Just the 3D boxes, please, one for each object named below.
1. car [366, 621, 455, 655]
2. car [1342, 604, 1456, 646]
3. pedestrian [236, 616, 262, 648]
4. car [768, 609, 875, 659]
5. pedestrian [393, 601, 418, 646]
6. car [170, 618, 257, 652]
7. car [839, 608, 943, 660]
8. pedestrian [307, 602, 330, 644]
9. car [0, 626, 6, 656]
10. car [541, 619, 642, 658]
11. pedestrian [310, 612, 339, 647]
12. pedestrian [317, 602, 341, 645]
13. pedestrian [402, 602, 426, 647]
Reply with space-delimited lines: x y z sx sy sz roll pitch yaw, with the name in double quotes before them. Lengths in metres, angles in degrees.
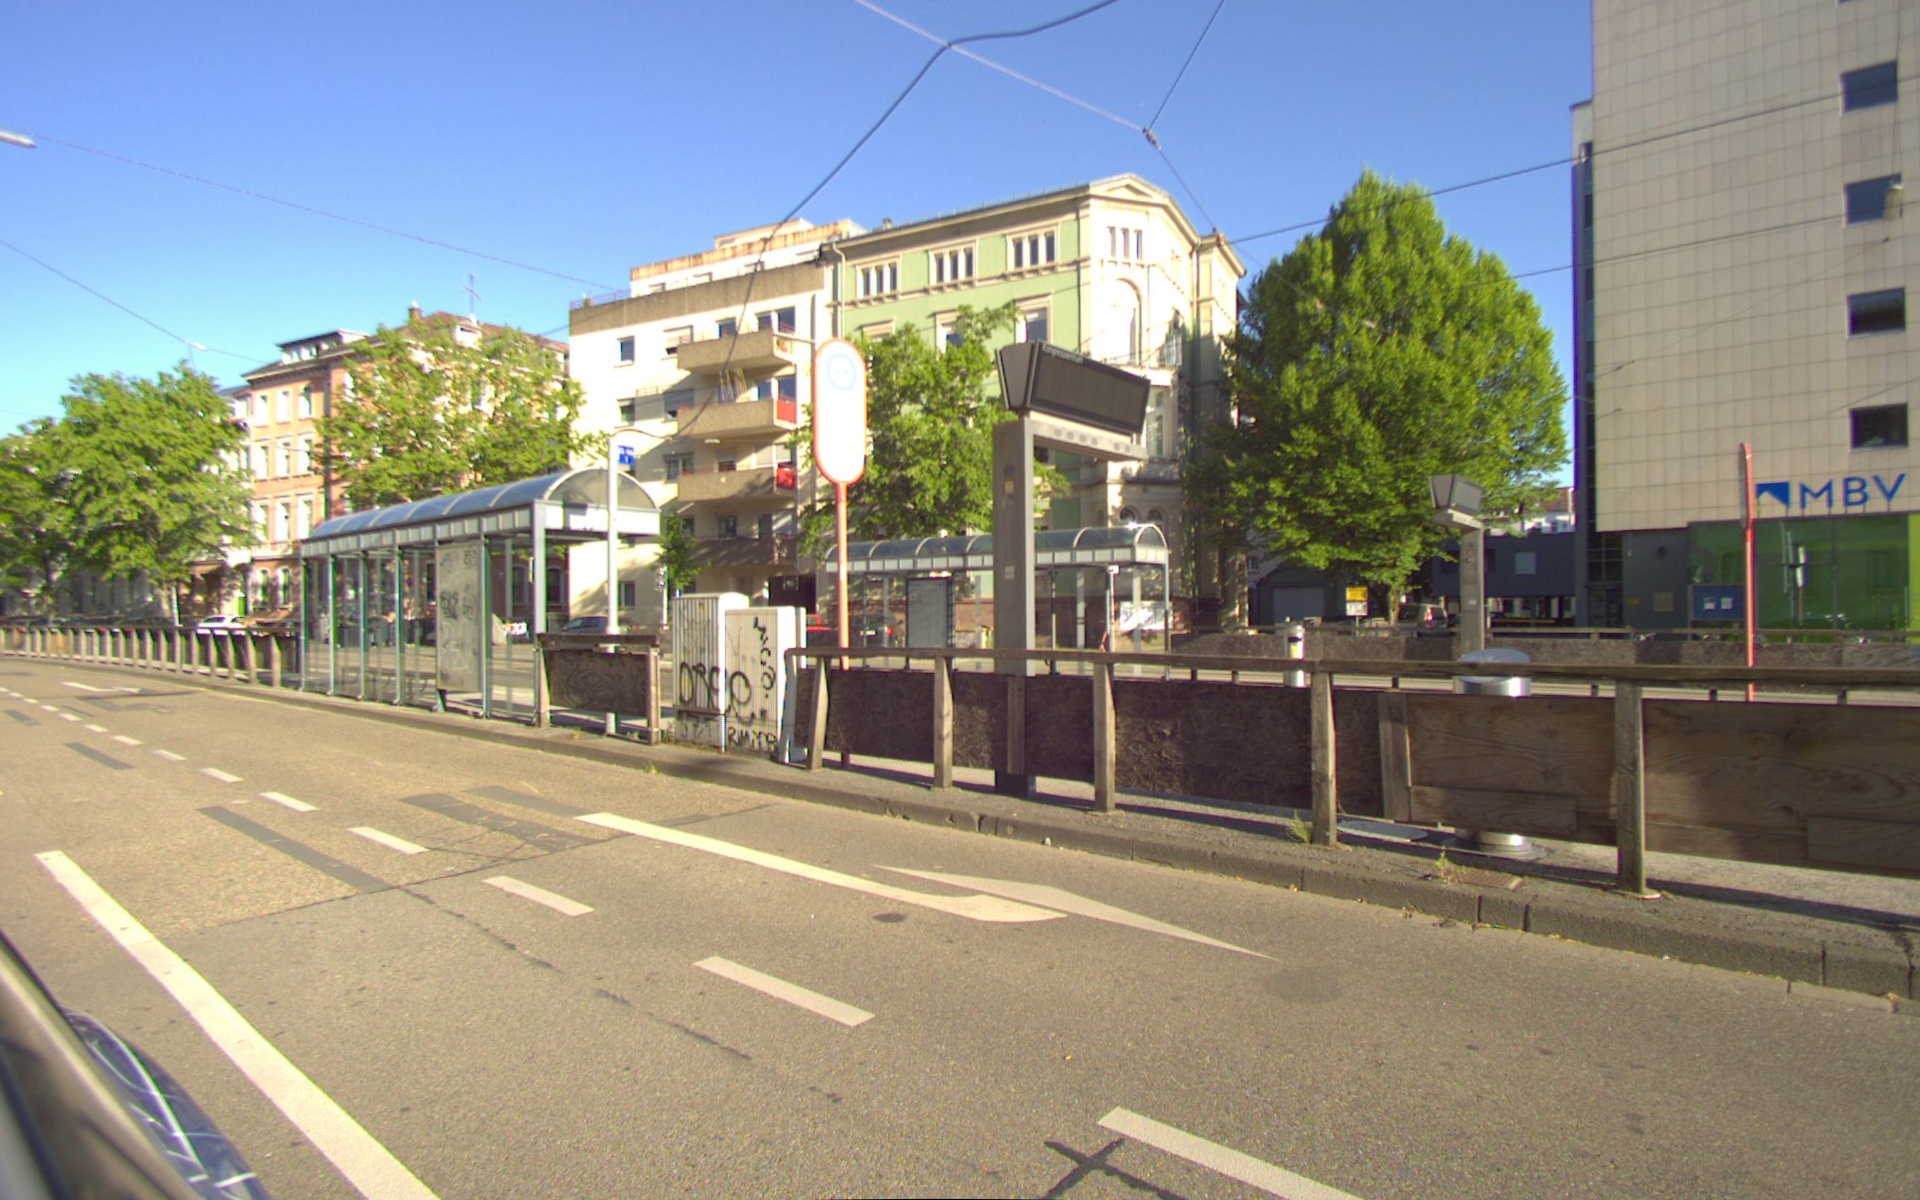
"car" -23.719 1.606 43.637 3.986 1.407 1.592 -1 -2 32
"car" 15.768 0.879 36.441 1.544 1.423 3.430 -1 0 -38
"pedestrian" -36.648 1.629 52.139 0.890 1.641 0.857 -1 -2 38
"car" -4.649 1.138 34.578 1.754 1.594 3.965 -1 -1 26
"pedestrian" -27.833 1.161 50.772 0.753 2.224 0.804 -1 -2 30
"car" -39.842 1.828 54.125 1.825 1.721 4.130 0 -1 -5
"car" -2.215 1.106 33.529 1.754 1.594 3.965 -1 -1 26
"pedestrian" -34.147 1.244 53.869 0.755 2.224 0.803 -1 -2 36
"car" -51.464 2.139 52.778 3.988 1.500 1.629 -1 -2 33
"car" -14.048 1.445 38.548 3.725 1.438 1.637 -1 -1 29
"pedestrian" -31.801 1.458 50.645 1.016 1.733 0.846 -1 -2 32
"pedestrian" -33.032 1.229 52.979 0.753 2.224 0.804 -1 -2 30
"pedestrian" -27.079 1.205 50.198 0.753 2.224 0.804 -1 -2 30
